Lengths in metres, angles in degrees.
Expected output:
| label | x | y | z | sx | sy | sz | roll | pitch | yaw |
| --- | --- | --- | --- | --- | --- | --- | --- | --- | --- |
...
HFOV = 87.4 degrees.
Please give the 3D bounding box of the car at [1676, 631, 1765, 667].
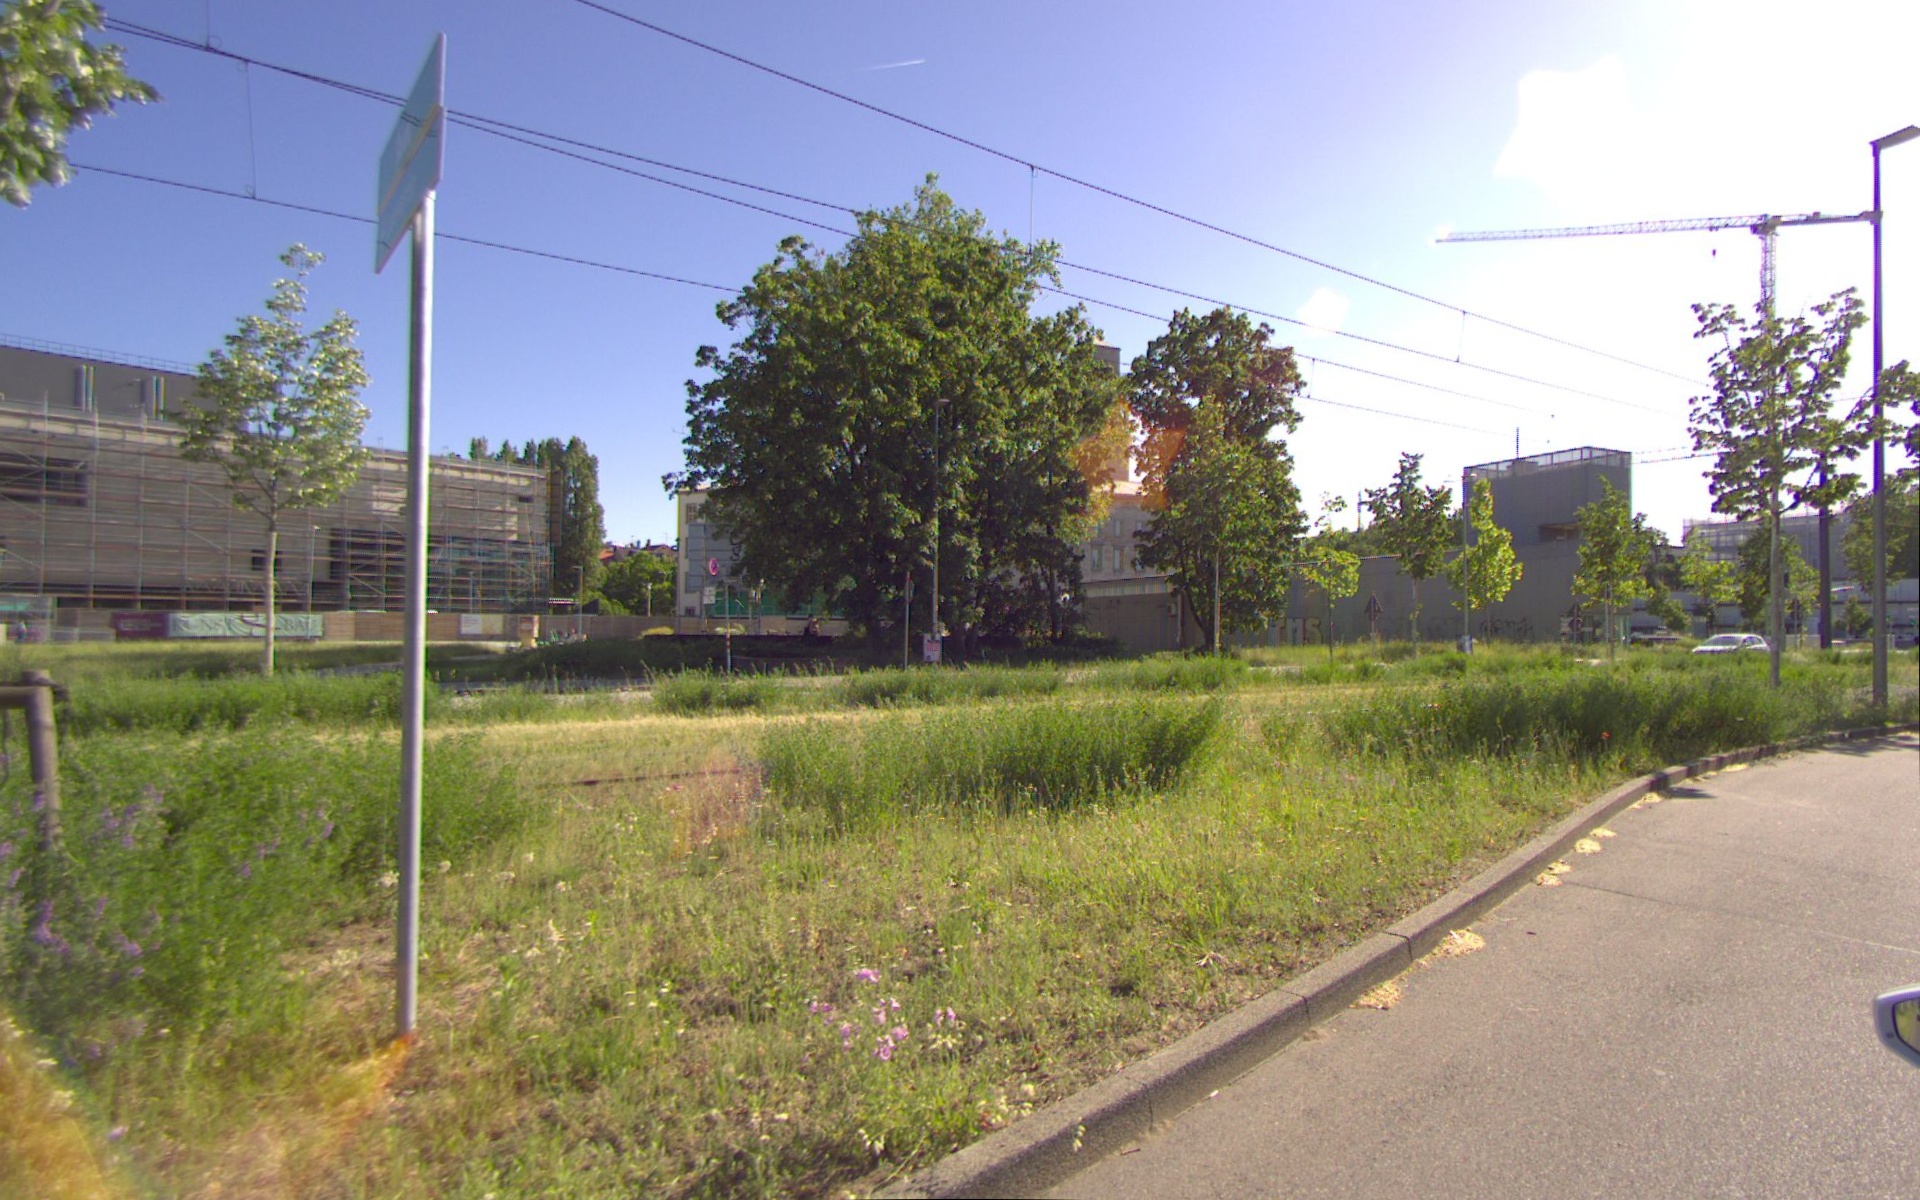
| label | x | y | z | sx | sy | sz | roll | pitch | yaw |
| --- | --- | --- | --- | --- | --- | --- | --- | --- | --- |
| car | 31.818 | 2.023 | 42.011 | 3.788 | 1.416 | 1.625 | 1 | -1 | -30 |
